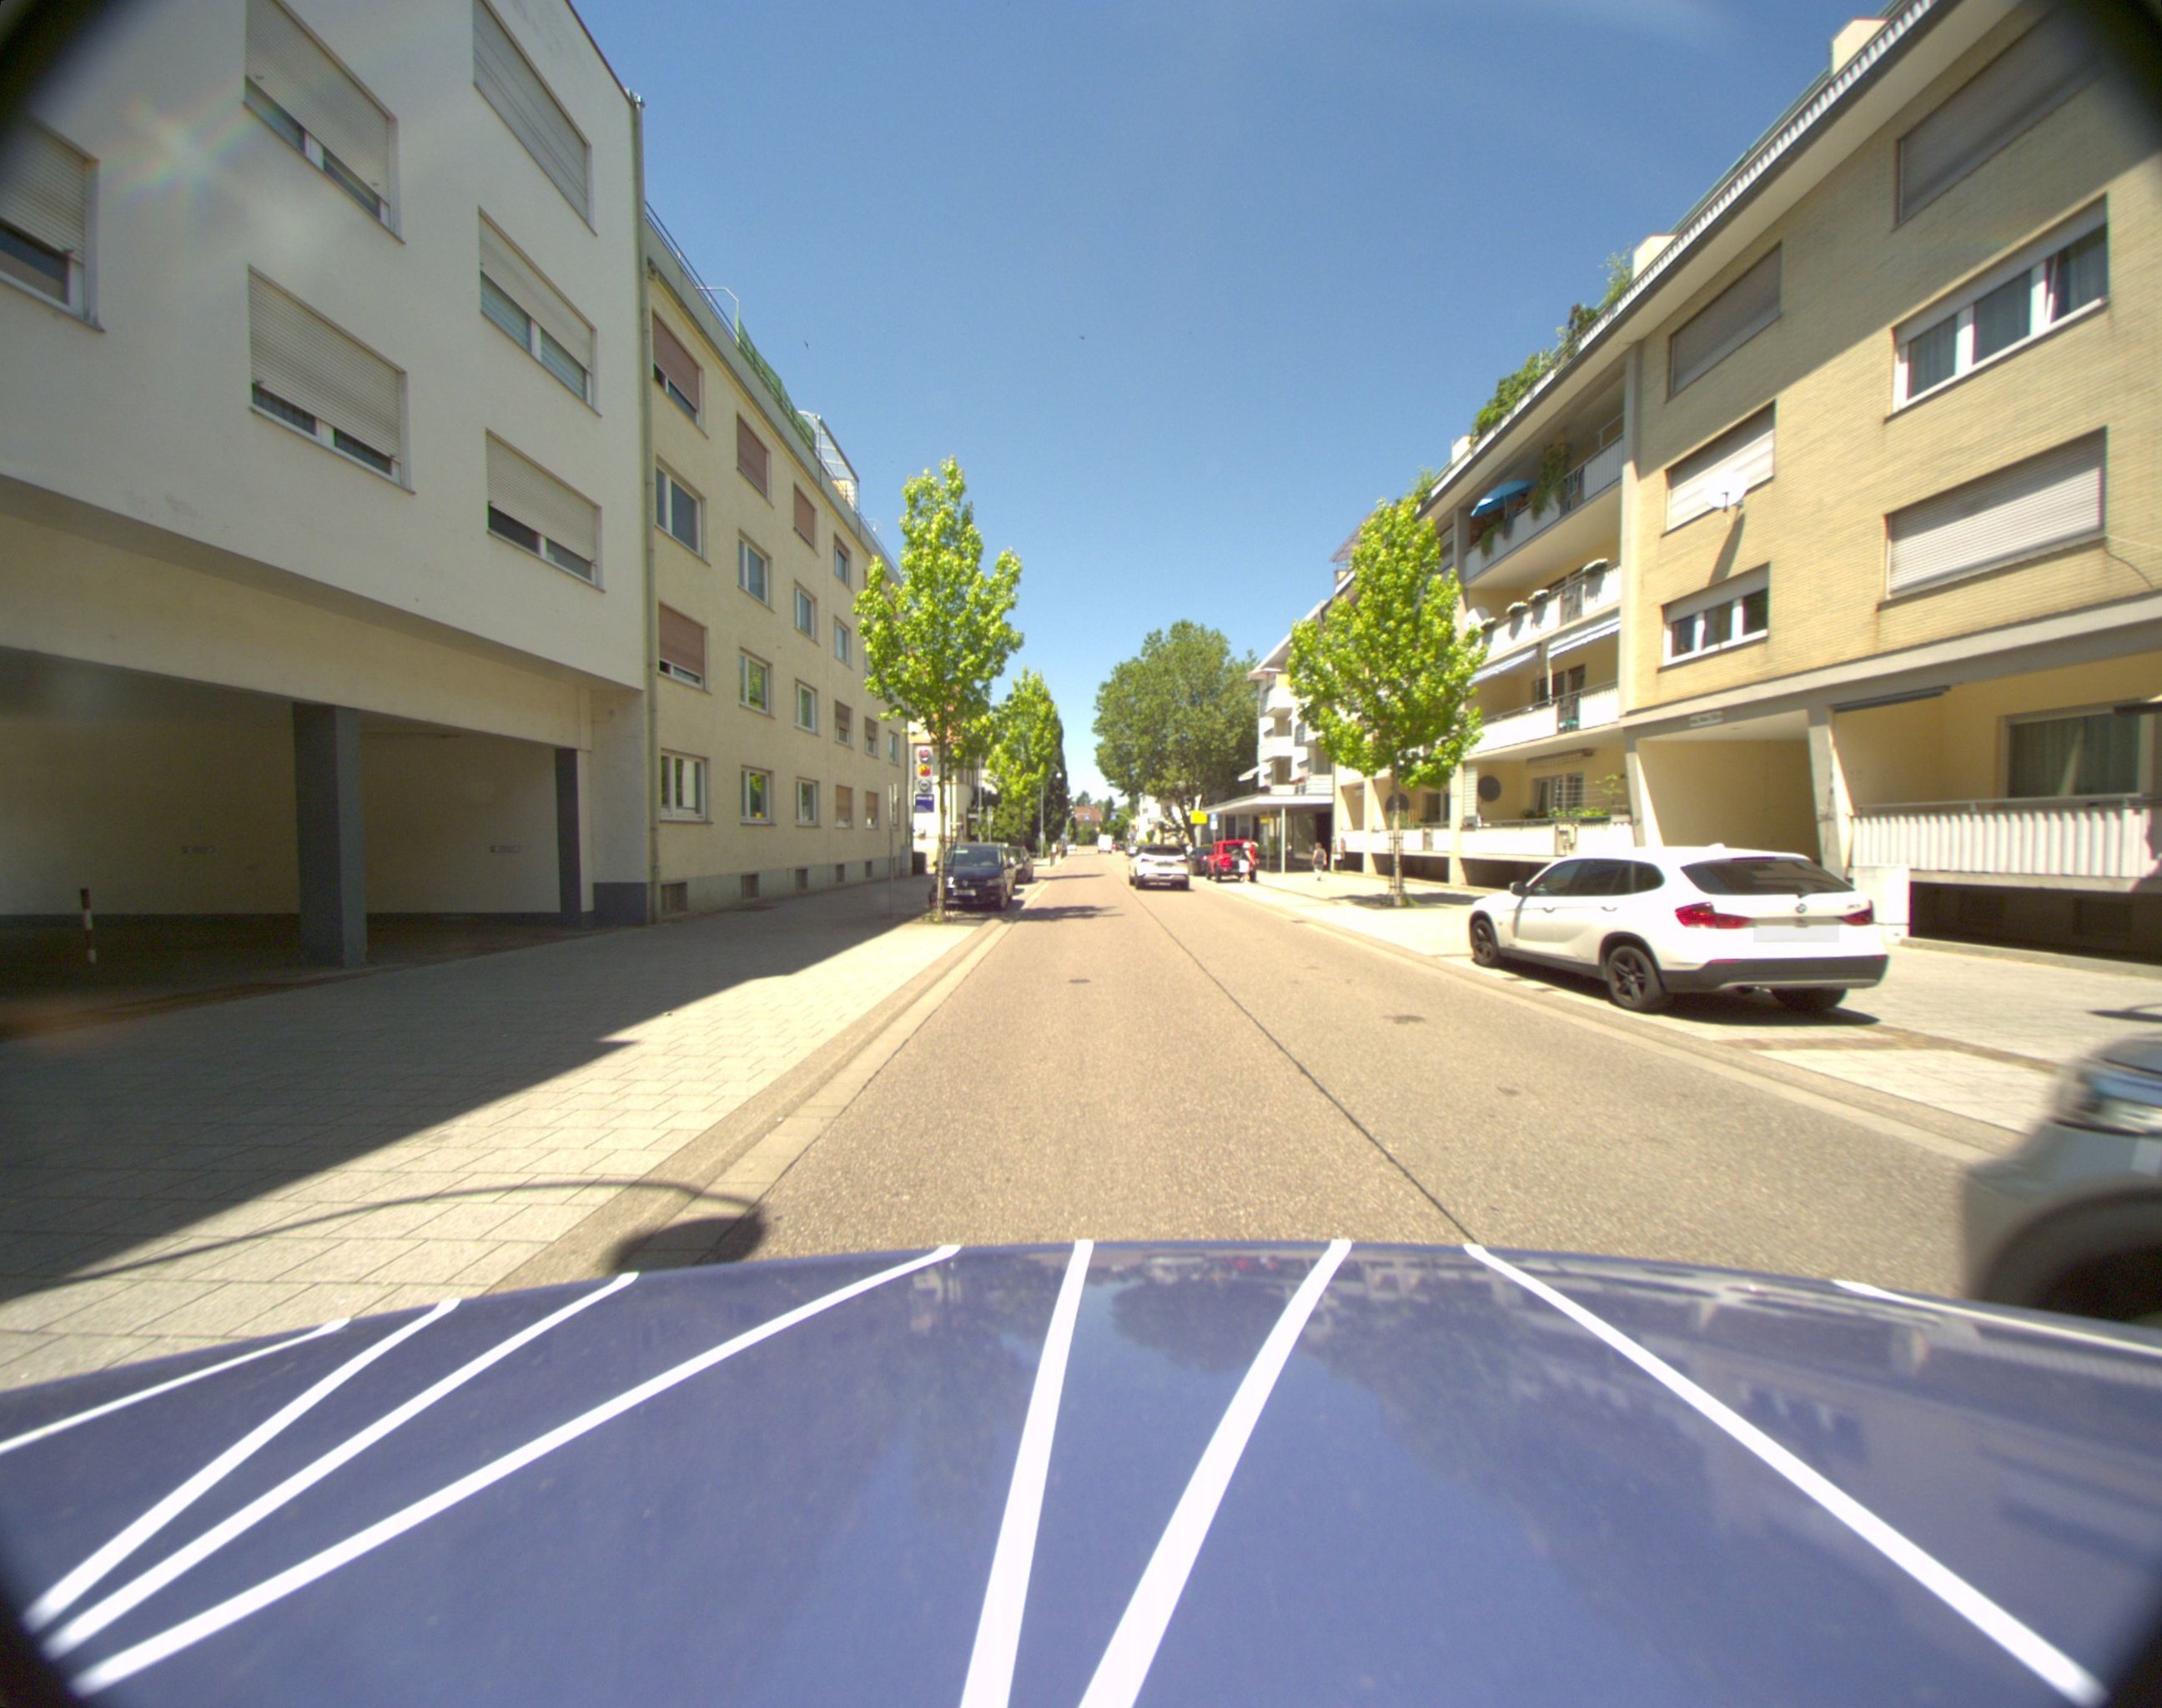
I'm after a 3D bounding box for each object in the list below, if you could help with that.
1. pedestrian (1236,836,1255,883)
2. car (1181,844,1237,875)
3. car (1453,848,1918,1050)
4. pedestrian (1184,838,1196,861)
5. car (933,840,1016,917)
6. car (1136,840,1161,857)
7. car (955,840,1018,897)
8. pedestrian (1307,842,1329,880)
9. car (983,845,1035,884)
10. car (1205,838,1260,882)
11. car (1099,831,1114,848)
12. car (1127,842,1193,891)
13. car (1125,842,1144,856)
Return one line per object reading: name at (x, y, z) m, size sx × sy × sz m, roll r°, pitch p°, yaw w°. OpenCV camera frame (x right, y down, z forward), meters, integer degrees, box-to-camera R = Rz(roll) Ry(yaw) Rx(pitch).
pedestrian at (6.370, 0.200, 29.477) m, size 0.667 × 1.794 × 0.686 m, roll 0°, pitch 1°, yaw 10°
car at (6.333, 0.240, 37.990) m, size 1.999 × 1.455 × 3.998 m, roll -1°, pitch 1°, yaw -2°
car at (5.934, 0.756, 8.292) m, size 1.699 × 1.583 × 4.299 m, roll -1°, pitch 1°, yaw 1°
pedestrian at (8.517, -0.349, 59.402) m, size 0.639 × 1.782 × 0.742 m, roll -1°, pitch 2°, yaw -22°
car at (-2.619, 0.546, 19.521) m, size 1.693 × 1.712 × 3.998 m, roll 2°, pitch 1°, yaw -3°
car at (6.192, -0.557, 69.838) m, size 1.998 × 1.499 × 3.999 m, roll 0°, pitch 1°, yaw 1°
car at (-3.026, 0.408, 25.067) m, size 1.693 × 1.712 × 4.132 m, roll 0°, pitch 1°, yaw -2°
pedestrian at (9.408, 0.276, 30.159) m, size 0.778 × 1.490 × 0.698 m, roll 0°, pitch 1°, yaw 12°
car at (-2.891, 0.392, 31.379) m, size 1.692 × 1.479 × 4.133 m, roll 0°, pitch 1°, yaw 1°
car at (6.242, 0.211, 31.620) m, size 1.644 × 1.652 × 3.370 m, roll -2°, pitch 1°, yaw 1°
car at (3.795, -2.172, 113.407) m, size 2.231 × 2.452 × 5.248 m, roll 0°, pitch 1°, yaw 1°
car at (2.775, 0.381, 27.592) m, size 1.776 × 1.623 × 4.298 m, roll 1°, pitch 1°, yaw -2°
car at (6.386, -0.638, 90.407) m, size 1.998 × 1.630 × 3.999 m, roll 0°, pitch 1°, yaw 0°
